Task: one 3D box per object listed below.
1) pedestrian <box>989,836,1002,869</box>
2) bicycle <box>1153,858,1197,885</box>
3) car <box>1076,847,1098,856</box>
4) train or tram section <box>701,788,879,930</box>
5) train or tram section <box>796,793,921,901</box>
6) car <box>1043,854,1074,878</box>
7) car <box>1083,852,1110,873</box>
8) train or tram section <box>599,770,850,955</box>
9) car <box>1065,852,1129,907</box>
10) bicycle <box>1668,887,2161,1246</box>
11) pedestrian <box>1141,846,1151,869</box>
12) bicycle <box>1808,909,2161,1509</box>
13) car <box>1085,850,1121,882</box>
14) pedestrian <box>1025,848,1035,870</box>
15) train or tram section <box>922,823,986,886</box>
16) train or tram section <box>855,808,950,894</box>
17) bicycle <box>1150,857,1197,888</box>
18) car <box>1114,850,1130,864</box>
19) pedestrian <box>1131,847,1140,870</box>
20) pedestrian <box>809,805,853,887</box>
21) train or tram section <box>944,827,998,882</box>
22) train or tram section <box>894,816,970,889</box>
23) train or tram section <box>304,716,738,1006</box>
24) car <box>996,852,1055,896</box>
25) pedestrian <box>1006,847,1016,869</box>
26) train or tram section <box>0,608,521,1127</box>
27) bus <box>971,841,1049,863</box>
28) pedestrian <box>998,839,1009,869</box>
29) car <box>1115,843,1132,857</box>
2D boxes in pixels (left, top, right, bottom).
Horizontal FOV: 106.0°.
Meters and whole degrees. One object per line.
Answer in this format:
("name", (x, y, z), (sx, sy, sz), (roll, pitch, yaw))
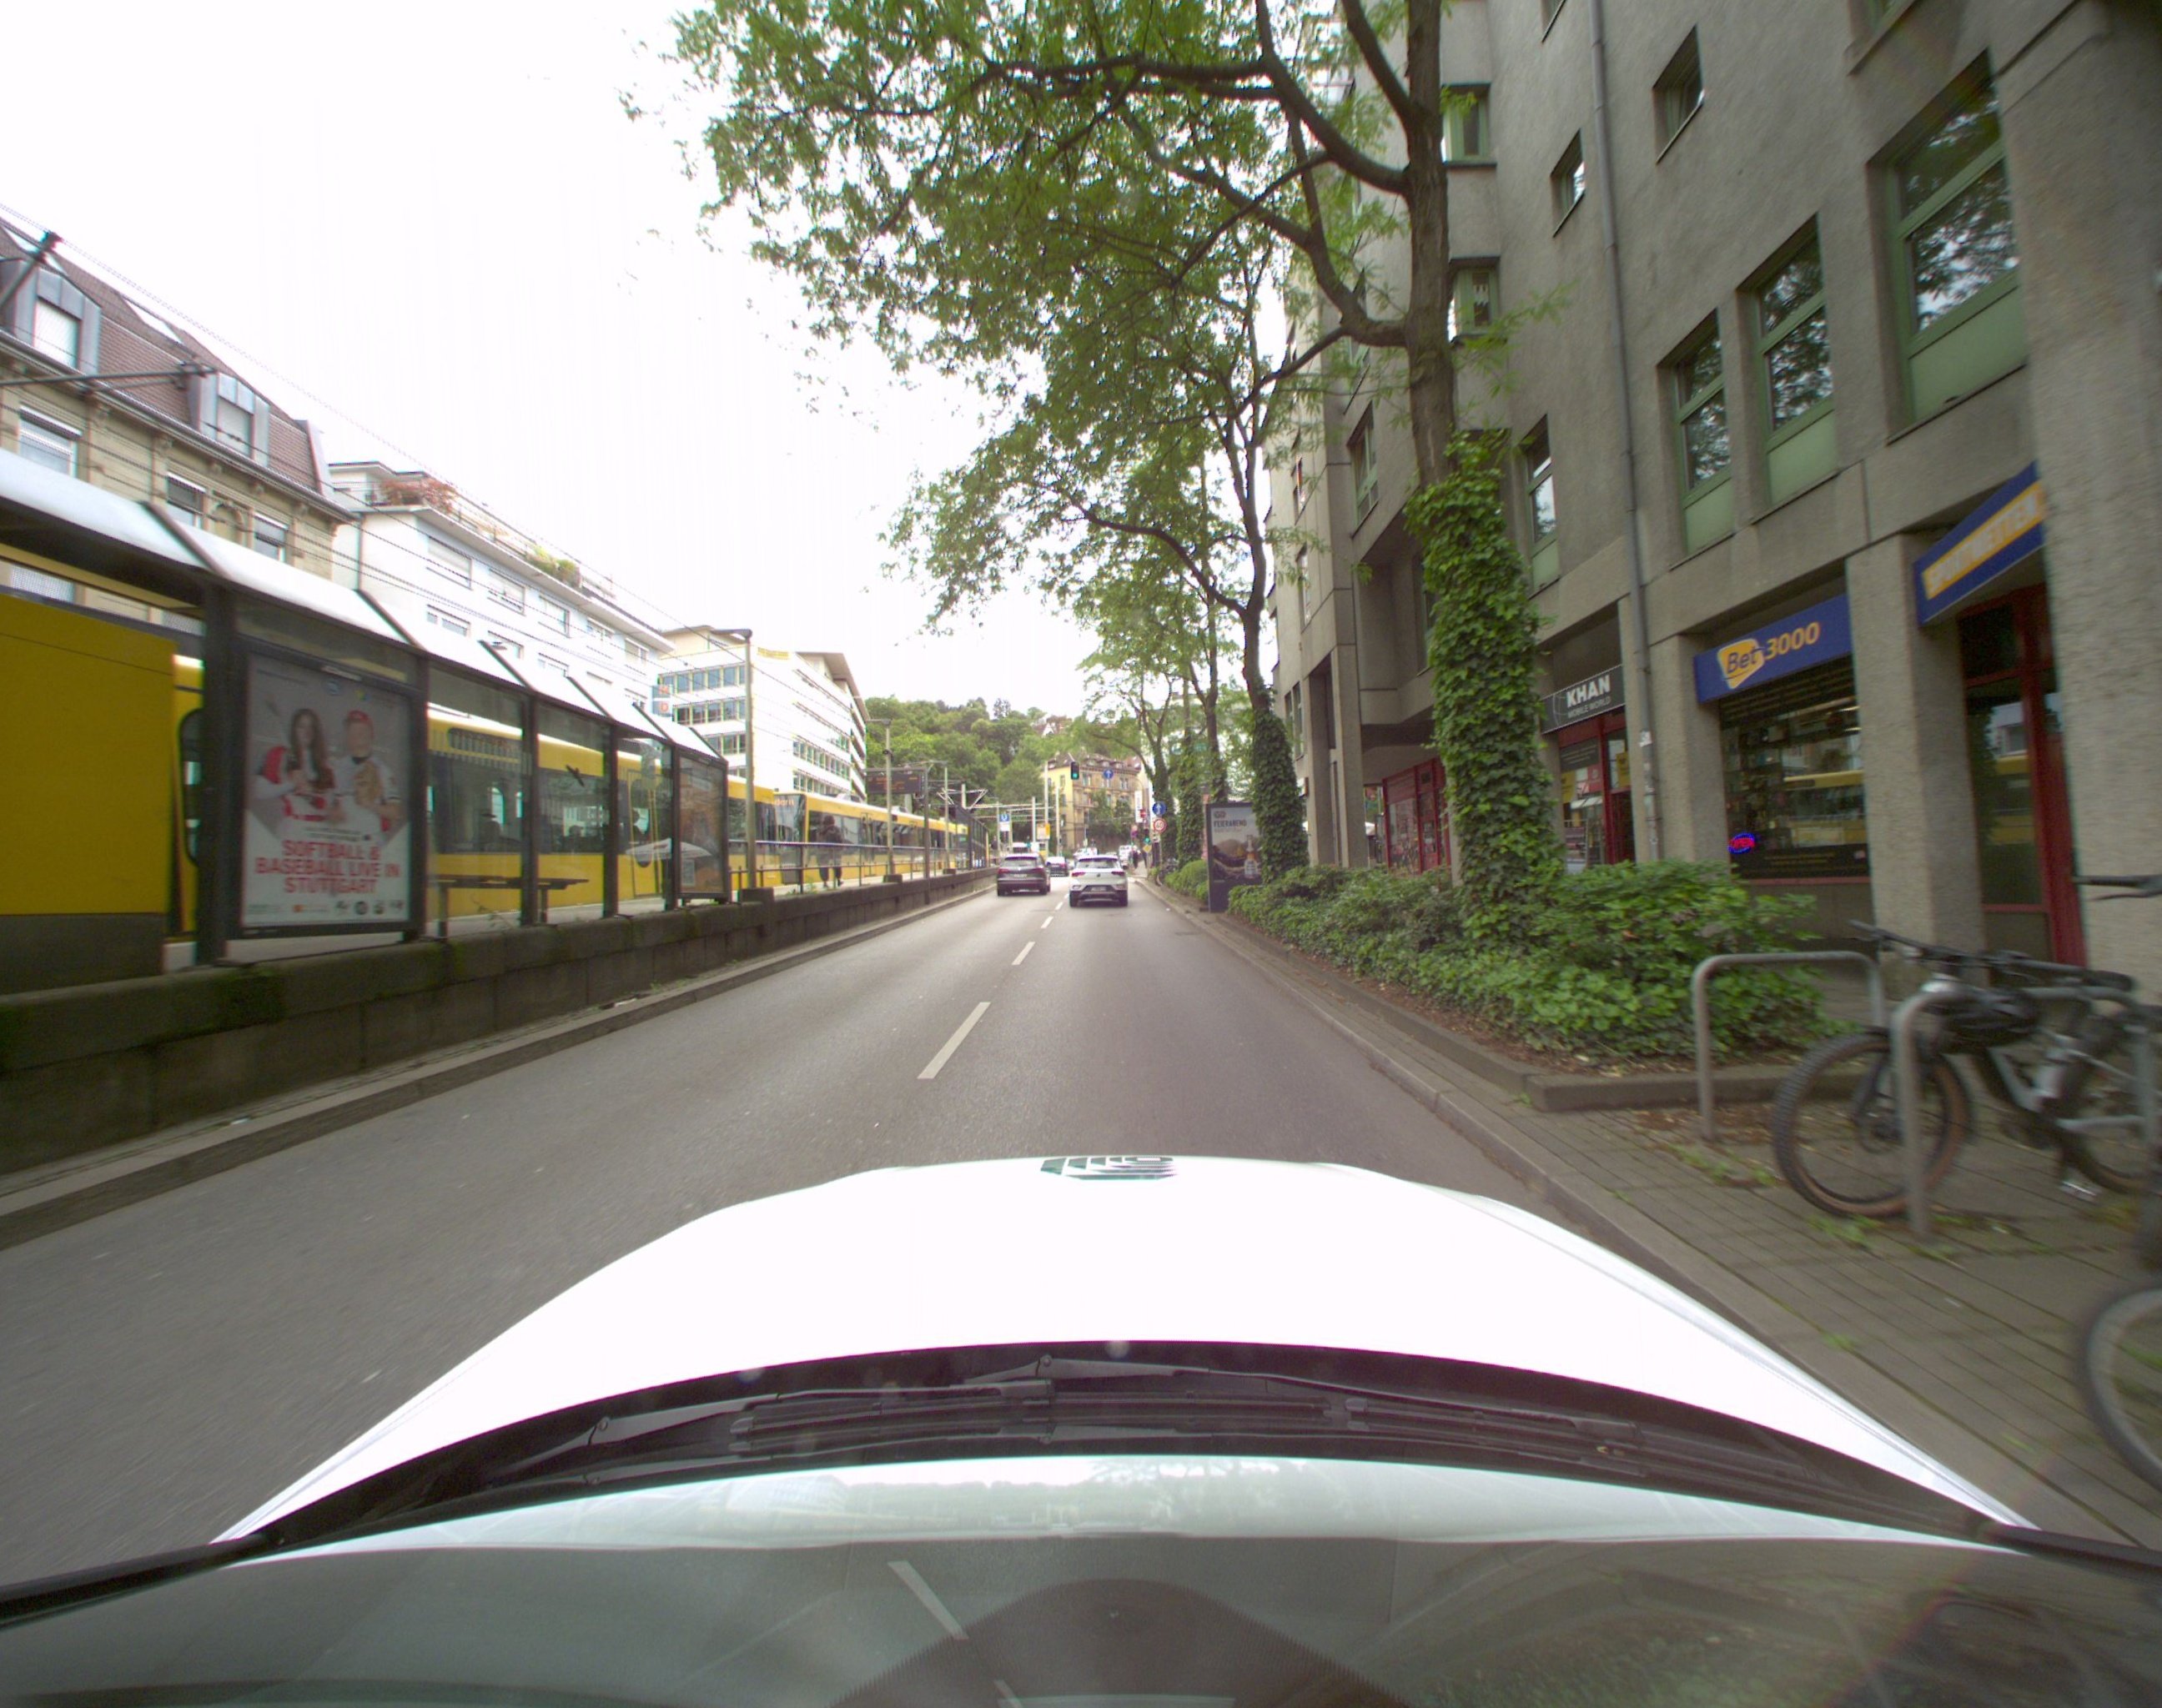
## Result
("pedestrian", (-5.413, -0.092, 51.571), (0.761, 2.014, 0.837), (0, -2, -5))
("bicycle", (4.086, 0.766, 35.365), (1.870, 1.137, 0.810), (-1, -2, 8))
("car", (1.086, -0.444, 143.930), (1.893, 1.689, 4.025), (0, 0, 35))
("train or tram section", (-8.425, 0.162, 24.574), (2.803, 3.666, 6.752), (-1, -1, 1))
("train or tram section", (-8.307, -0.202, 31.324), (2.803, 3.666, 6.752), (-1, -1, 1))
("car", (-1.590, 0.852, 59.458), (1.903, 1.689, 4.004), (0, 0, 4))
("car", (1.288, 0.763, 68.729), (1.881, 1.684, 4.154), (0, -2, -5))
("train or tram section", (-8.090, 0.209, 19.642), (2.802, 3.666, 6.755), (-1, -1, 3))
("car", (0.597, 0.772, 25.956), (1.829, 1.584, 4.161), (-1, -1, 4))
("bicycle", (3.439, 0.734, 3.106), (1.910, 1.076, 0.613), (-4, -1, -1))
("pedestrian", (5.793, 0.338, 72.560), (0.758, 2.014, 0.840), (-1, -2, 7))
("bicycle", (2.849, 0.716, 1.901), (1.612, 1.128, 0.614), (-4, -1, 5))
("car", (1.245, 0.726, 45.820), (1.878, 1.684, 4.162), (-1, -2, 2))
("pedestrian", (-4.721, 0.502, 75.356), (0.759, 2.014, 0.839), (-1, -2, 2))
("train or tram section", (-7.912, 0.074, 51.594), (2.803, 3.666, 6.752), (-1, -1, 1))
("train or tram section", (-8.166, -0.080, 38.076), (2.803, 3.666, 6.752), (-1, -1, 1))
("bicycle", (3.859, 0.780, 33.877), (1.868, 1.266, 0.767), (-1, -2, 12))
("car", (5.187, 0.432, 103.618), (1.876, 1.684, 4.165), (-1, -2, 4))
("pedestrian", (4.943, 0.404, 74.347), (0.758, 2.014, 0.840), (-1, -2, 7))
("pedestrian", (-5.558, -0.184, 18.156), (0.624, 1.762, 0.847), (-2, 0, 1))
("train or tram section", (-7.776, 0.083, 58.367), (2.803, 3.666, 6.752), (-1, -1, 1))
("train or tram section", (-8.045, -0.046, 44.823), (2.803, 3.666, 6.752), (-1, -1, 1))
("train or tram section", (-8.373, 0.128, 13.314), (2.802, 3.666, 5.906), (-1, -1, 2))
("car", (-2.194, 0.765, 33.208), (1.986, 1.636, 4.001), (-1, 0, 1))
("pedestrian", (-6.316, 0.353, 73.567), (0.759, 2.014, 0.838), (-1, -2, 1))
("train or tram section", (-8.647, 0.128, 7.475), (2.824, 3.521, 5.755), (-1, -1, 2))
("bus", (-11.310, -0.201, 128.067), (13.151, 3.065, 3.404), (-2, -2, 36))
("pedestrian", (-5.271, 0.031, 55.471), (0.761, 2.014, 0.837), (0, -2, -5))
("car", (6.453, -0.577, 122.916), (2.353, 2.014, 5.155), (-1, -2, 5))
